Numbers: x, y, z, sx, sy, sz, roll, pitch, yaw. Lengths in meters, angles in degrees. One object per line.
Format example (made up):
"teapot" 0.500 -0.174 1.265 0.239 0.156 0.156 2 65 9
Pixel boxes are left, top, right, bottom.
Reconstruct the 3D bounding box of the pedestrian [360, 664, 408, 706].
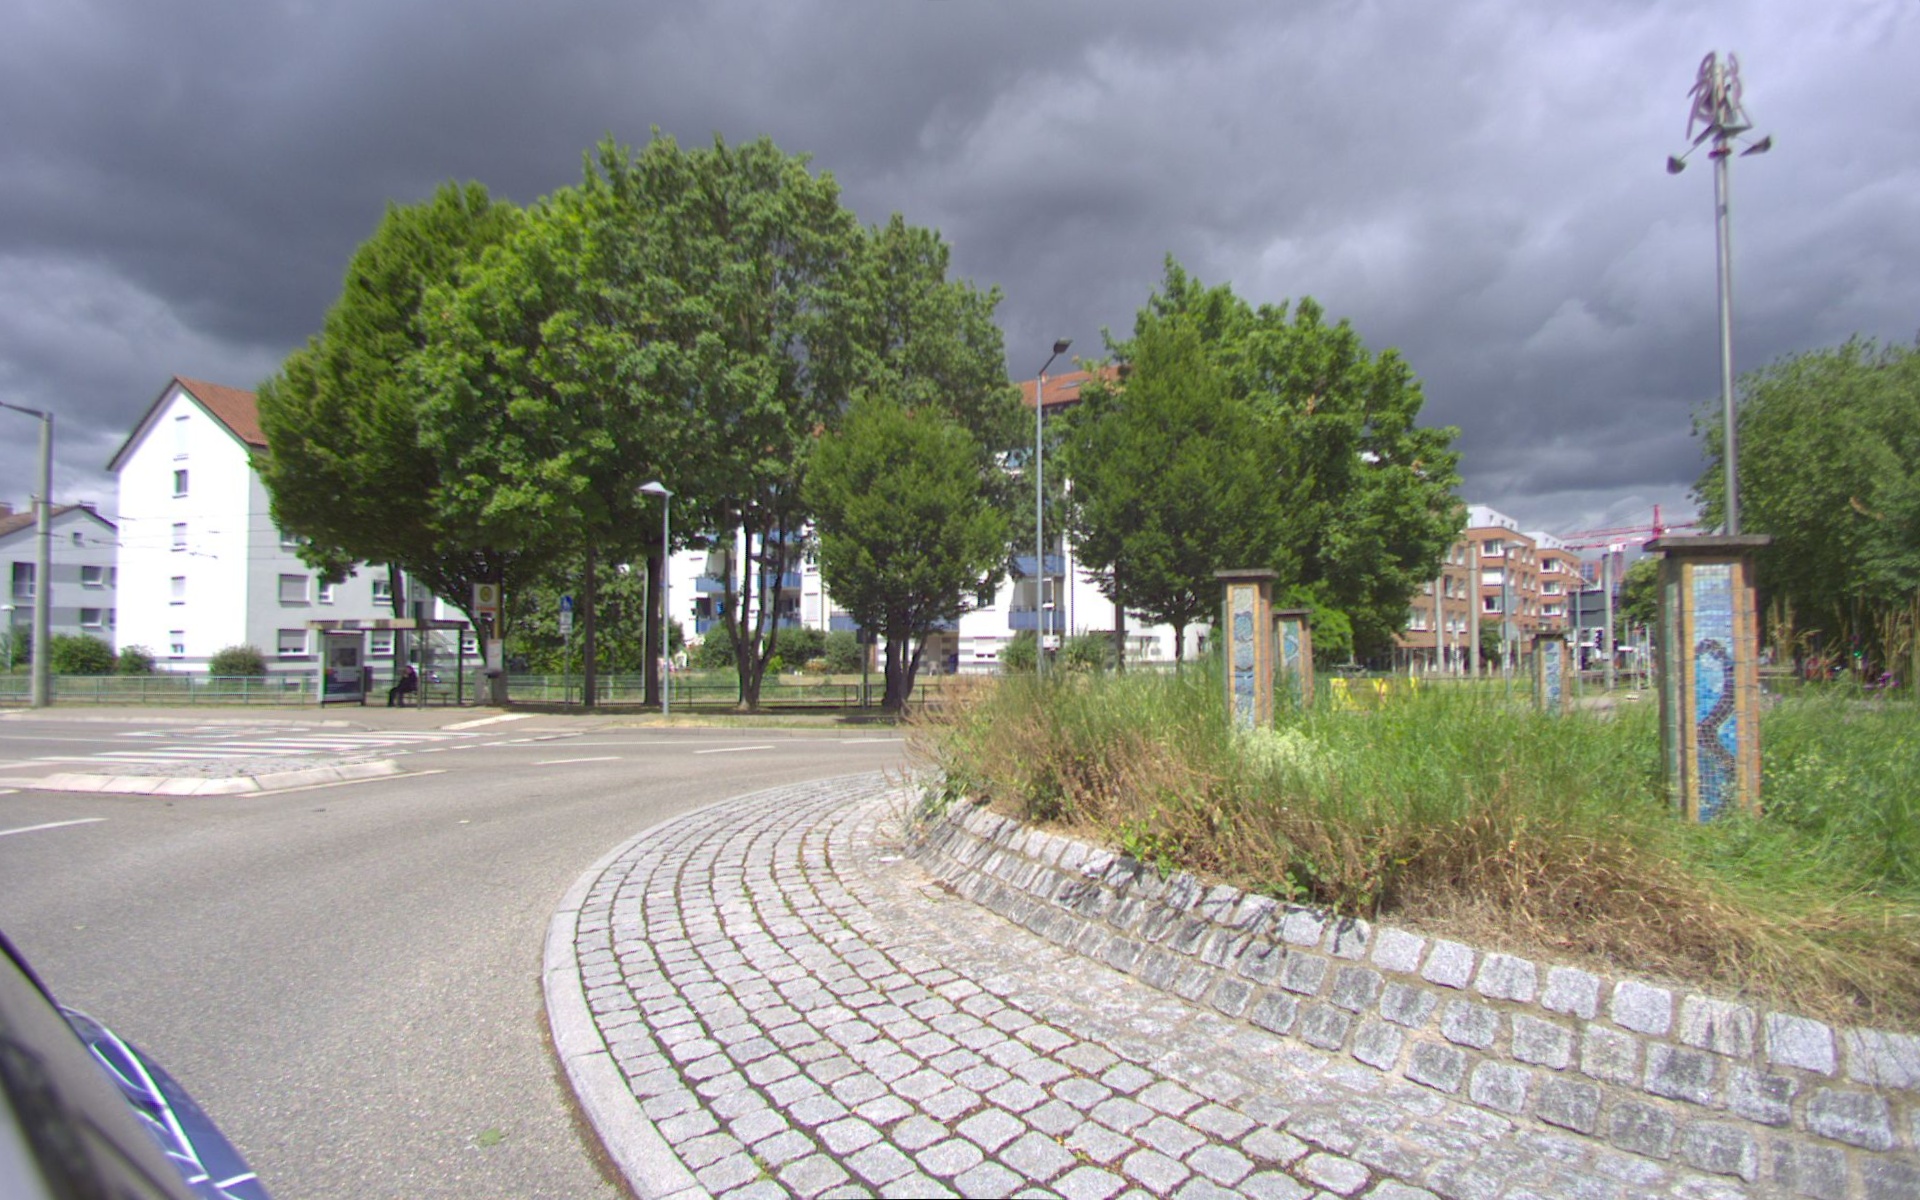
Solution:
"pedestrian" -16.271 2.399 28.594 0.905 1.144 0.795 -2 -2 22

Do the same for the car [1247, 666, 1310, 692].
"car" 23.379 5.811 74.393 3.990 1.822 1.976 -3 -4 35
